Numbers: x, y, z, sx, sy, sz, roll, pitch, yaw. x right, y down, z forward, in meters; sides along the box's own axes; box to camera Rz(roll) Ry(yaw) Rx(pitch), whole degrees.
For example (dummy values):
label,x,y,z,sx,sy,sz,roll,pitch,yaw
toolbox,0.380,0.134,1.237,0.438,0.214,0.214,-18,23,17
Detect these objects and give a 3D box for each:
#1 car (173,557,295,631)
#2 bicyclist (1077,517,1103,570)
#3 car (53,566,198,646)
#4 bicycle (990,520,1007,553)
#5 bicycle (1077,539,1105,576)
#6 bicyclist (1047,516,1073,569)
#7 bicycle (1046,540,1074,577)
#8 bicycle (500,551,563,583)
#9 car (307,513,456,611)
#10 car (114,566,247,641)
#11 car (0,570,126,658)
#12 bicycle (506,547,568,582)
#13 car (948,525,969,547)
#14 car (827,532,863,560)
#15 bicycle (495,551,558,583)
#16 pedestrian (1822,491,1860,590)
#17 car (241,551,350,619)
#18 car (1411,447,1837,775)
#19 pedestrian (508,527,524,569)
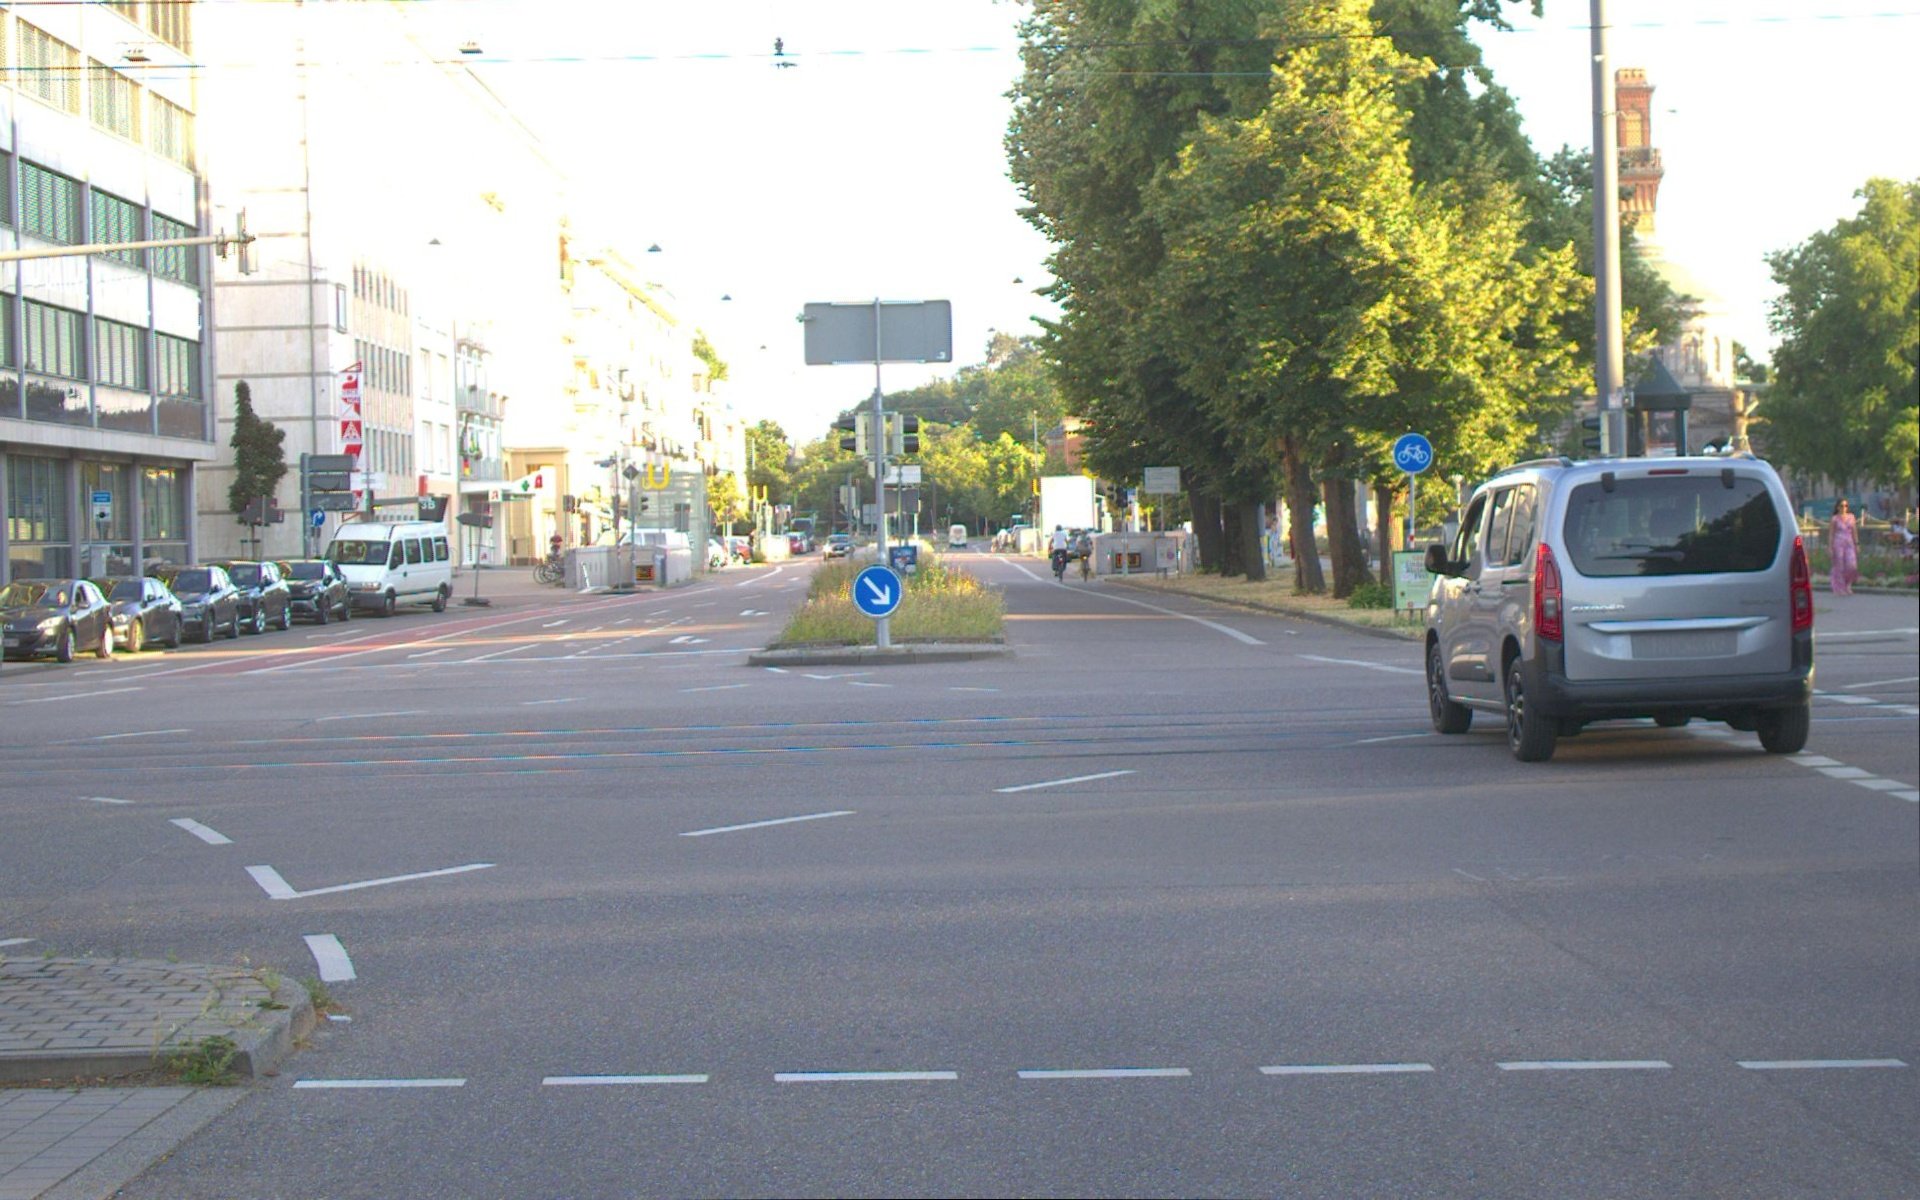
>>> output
label,x,y,z,sx,sy,sz,roll,pitch,yaw
car,-16.554,-0.150,78.556,1.920,1.563,4.000,-2,1,-1
bicyclist,4.171,-1.806,110.021,0.746,1.685,0.799,-2,1,-1
car,-16.573,0.101,68.440,1.920,1.459,4.000,-2,1,-1
bicycle,2.350,-3.898,211.082,0.895,2.007,4.000,-1,1,-1
bicycle,4.184,-1.360,110.185,0.746,1.140,2.505,-2,1,-1
bicyclist,3.189,-1.835,109.797,0.746,1.658,0.873,-2,1,-1
bicycle,3.208,-1.350,110.366,0.746,1.140,2.505,-2,1,-1
bicycle,-15.822,-1.234,127.028,2.205,1.108,0.689,-2,1,-2
car,-15.296,-1.053,91.233,2.002,2.469,5.865,-1,1,10
car,-16.576,0.053,73.255,1.920,1.459,4.000,-2,1,-1
car,-16.484,0.231,61.961,1.920,1.459,4.103,-2,1,-1
bicycle,-15.859,-1.336,128.888,2.205,1.232,0.839,-2,1,-2
car,-0.096,-4.877,261.370,1.408,1.636,4.000,-2,1,-2
car,-6.519,-3.055,195.486,1.863,1.514,4.000,-1,1,1
bicycle,-15.834,-1.219,125.478,2.205,1.108,0.619,-2,1,-2
pedestrian,14.785,-0.999,57.699,0.460,1.651,0.567,-1,1,-1
car,-16.356,-0.384,84.783,1.920,1.563,4.000,-2,1,-1
car,4.193,-0.021,22.414,1.763,1.882,4.501,-2,2,-1
pedestrian,-21.295,-2.508,164.909,0.680,2.007,0.545,-2,1,0
